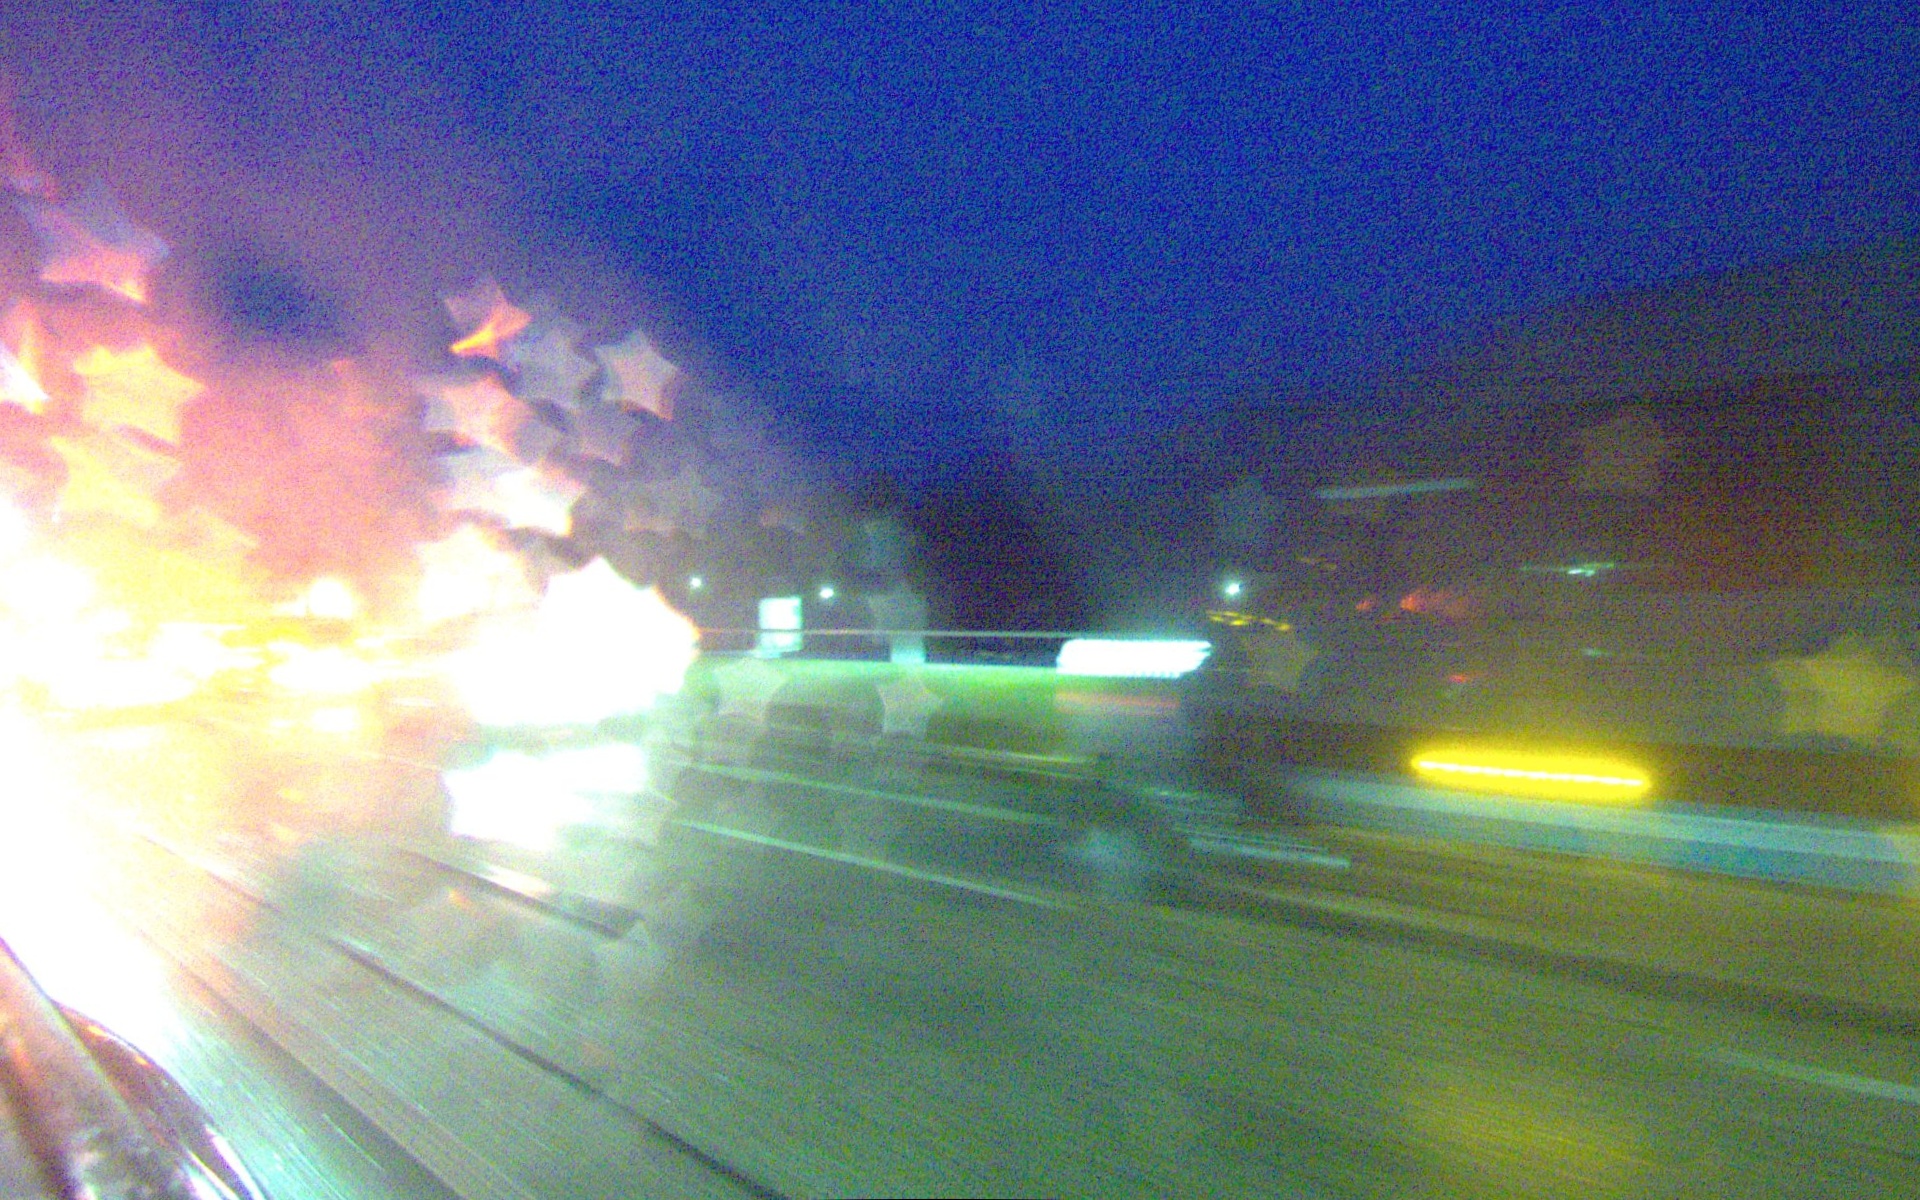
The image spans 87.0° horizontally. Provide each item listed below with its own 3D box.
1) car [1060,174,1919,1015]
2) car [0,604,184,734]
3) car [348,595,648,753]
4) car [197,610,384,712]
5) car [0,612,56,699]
[{"bbox_3d":[3.605,-0.023,4.242,6.236,2.728,2.101,-1,0,41],"label":"car"},{"bbox_3d":[-13.271,0.928,15.131,4.413,1.642,1.786,-1,0,41],"label":"car"},{"bbox_3d":[-5.778,0.792,12.397,4.309,1.600,1.702,-1,0,41],"label":"car"},{"bbox_3d":[-11.483,0.969,17.264,3.826,1.519,1.702,-1,0,41],"label":"car"},{"bbox_3d":[-19.467,1.073,20.101,4.596,1.587,1.824,-2,-1,43],"label":"car"}]
